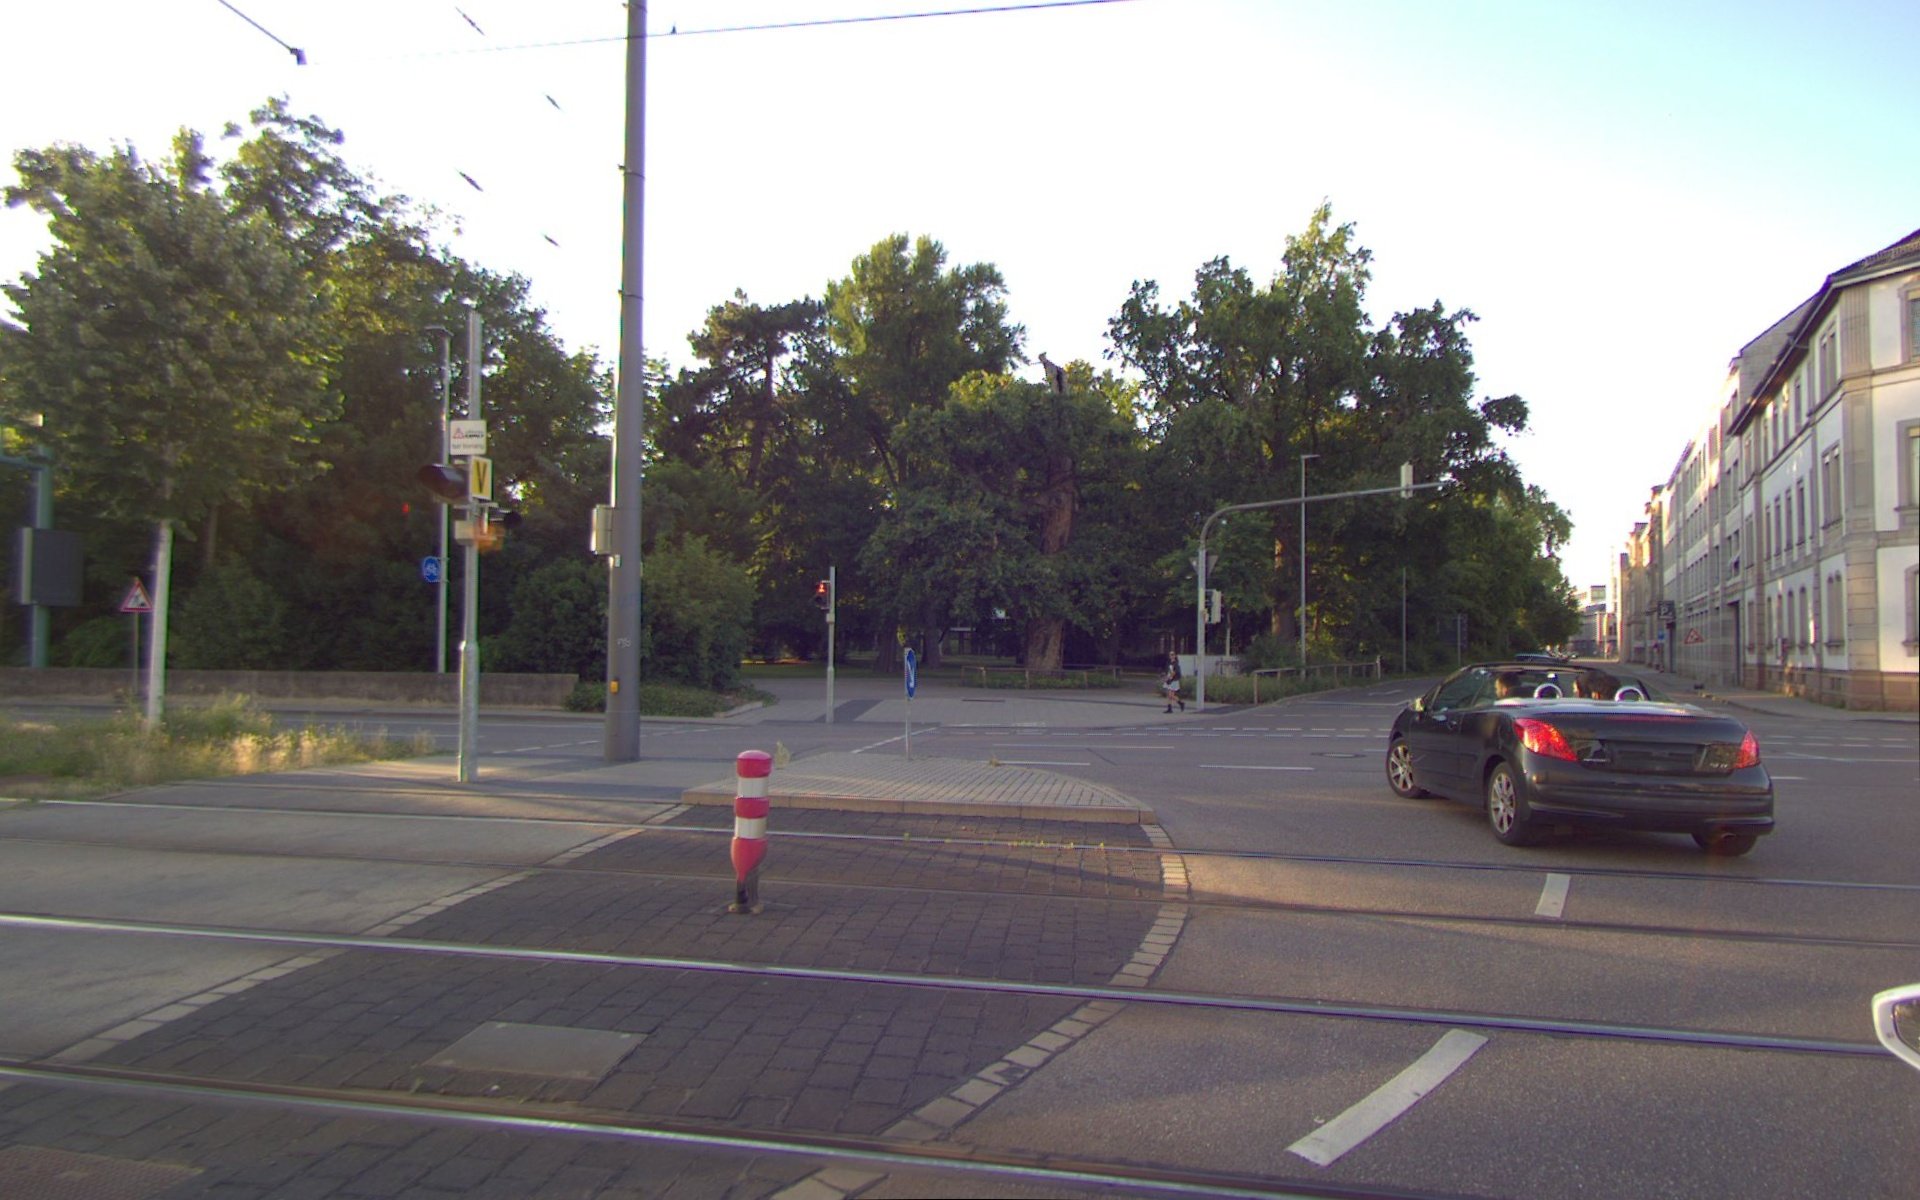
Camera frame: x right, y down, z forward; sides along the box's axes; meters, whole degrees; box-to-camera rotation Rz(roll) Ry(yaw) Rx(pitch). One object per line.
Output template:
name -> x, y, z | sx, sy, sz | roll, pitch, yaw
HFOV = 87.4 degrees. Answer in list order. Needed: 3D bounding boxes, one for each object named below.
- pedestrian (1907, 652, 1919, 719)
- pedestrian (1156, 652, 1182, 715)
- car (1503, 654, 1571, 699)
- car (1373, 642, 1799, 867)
pedestrian -> 24.563, 2.158, 25.294 | 0.626, 1.678, 0.817 | 1, -2, -13
pedestrian -> 5.222, 2.075, 25.082 | 0.606, 1.523, 0.581 | 0, -2, 12
car -> 20.854, 2.708, 36.252 | 1.799, 1.536, 3.566 | -2, -4, 34
car -> 4.962, 1.106, 8.667 | 1.689, 1.468, 3.905 | 0, -2, 9
